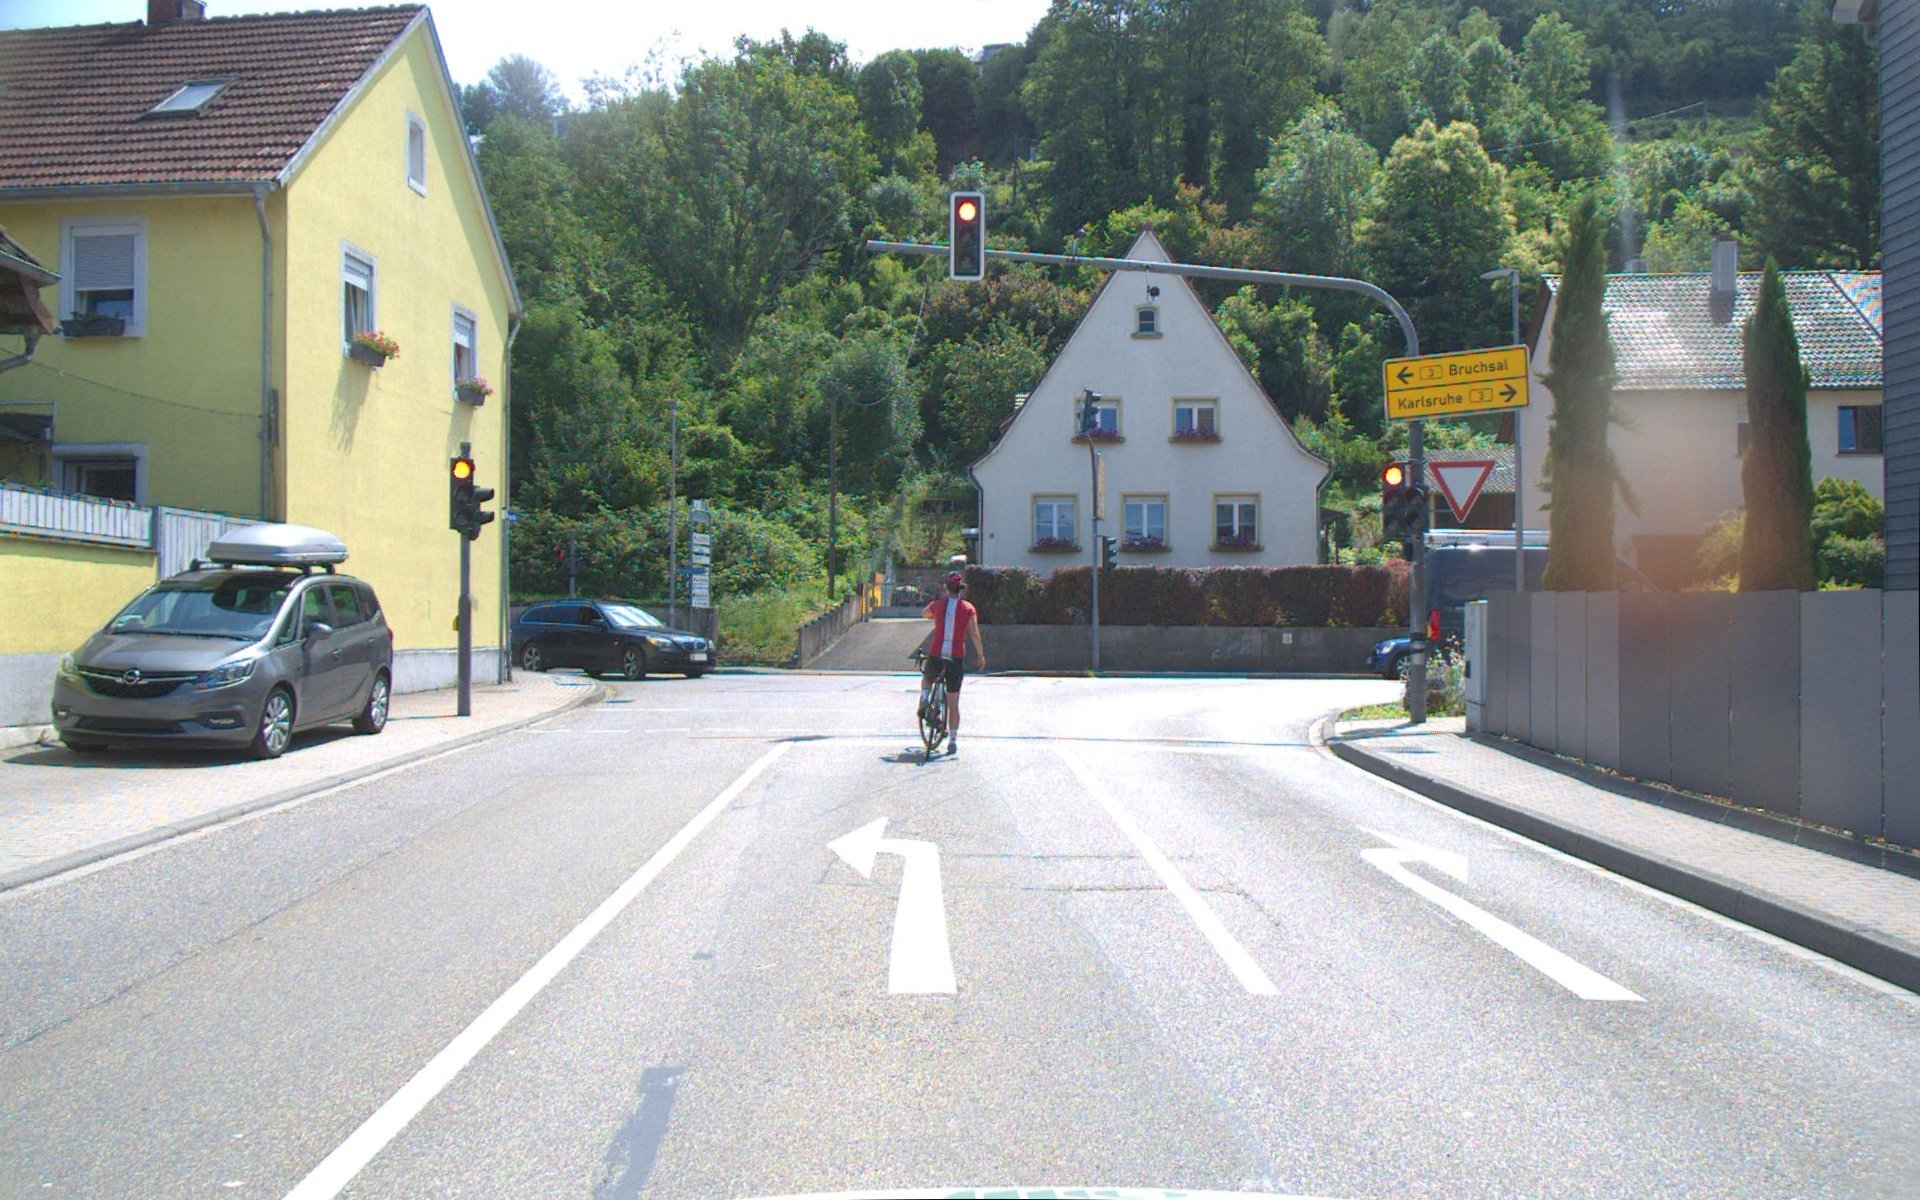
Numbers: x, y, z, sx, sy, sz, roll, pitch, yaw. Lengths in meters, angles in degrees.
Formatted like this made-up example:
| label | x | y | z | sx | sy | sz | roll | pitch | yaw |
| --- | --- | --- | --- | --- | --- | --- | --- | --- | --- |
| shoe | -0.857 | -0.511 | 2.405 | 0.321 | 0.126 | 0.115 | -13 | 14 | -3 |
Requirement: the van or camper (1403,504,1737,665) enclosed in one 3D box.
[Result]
| label | x | y | z | sx | sy | sz | roll | pitch | yaw |
| --- | --- | --- | --- | --- | --- | --- | --- | --- | --- |
| van or camper | 11.974 | -0.297 | 32.850 | 5.865 | 3.057 | 2.220 | 0 | -1 | 6 |

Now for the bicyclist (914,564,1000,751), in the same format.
| label | x | y | z | sx | sy | sz | roll | pitch | yaw |
| --- | --- | --- | --- | --- | --- | --- | --- | --- | --- |
| bicyclist | -0.029 | 0.525 | 15.538 | 0.745 | 1.693 | 0.868 | 1 | 0 | -1 |

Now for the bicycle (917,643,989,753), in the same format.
| label | x | y | z | sx | sy | sz | roll | pitch | yaw |
| --- | --- | --- | --- | --- | --- | --- | --- | --- | --- |
| bicycle | -0.074 | 0.896 | 15.578 | 0.617 | 0.920 | 1.657 | 1 | 0 | -1 |

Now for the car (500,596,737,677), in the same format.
| label | x | y | z | sx | sy | sz | roll | pitch | yaw |
| --- | --- | --- | --- | --- | --- | --- | --- | --- | --- |
| car | -6.712 | 0.699 | 32.355 | 4.573 | 1.467 | 1.864 | -1 | 0 | 33 |

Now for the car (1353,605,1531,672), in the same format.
| label | x | y | z | sx | sy | sz | roll | pitch | yaw |
| --- | --- | --- | --- | --- | --- | --- | --- | --- | --- |
| car | 10.713 | 0.875 | 36.932 | 3.533 | 1.387 | 1.645 | 1 | -3 | 3 |

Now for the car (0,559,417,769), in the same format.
| label | x | y | z | sx | sy | sz | roll | pitch | yaw |
| --- | --- | --- | --- | --- | --- | --- | --- | --- | --- |
| car | -6.929 | 0.524 | 15.865 | 1.953 | 1.664 | 4.629 | 2 | 0 | -1 |
